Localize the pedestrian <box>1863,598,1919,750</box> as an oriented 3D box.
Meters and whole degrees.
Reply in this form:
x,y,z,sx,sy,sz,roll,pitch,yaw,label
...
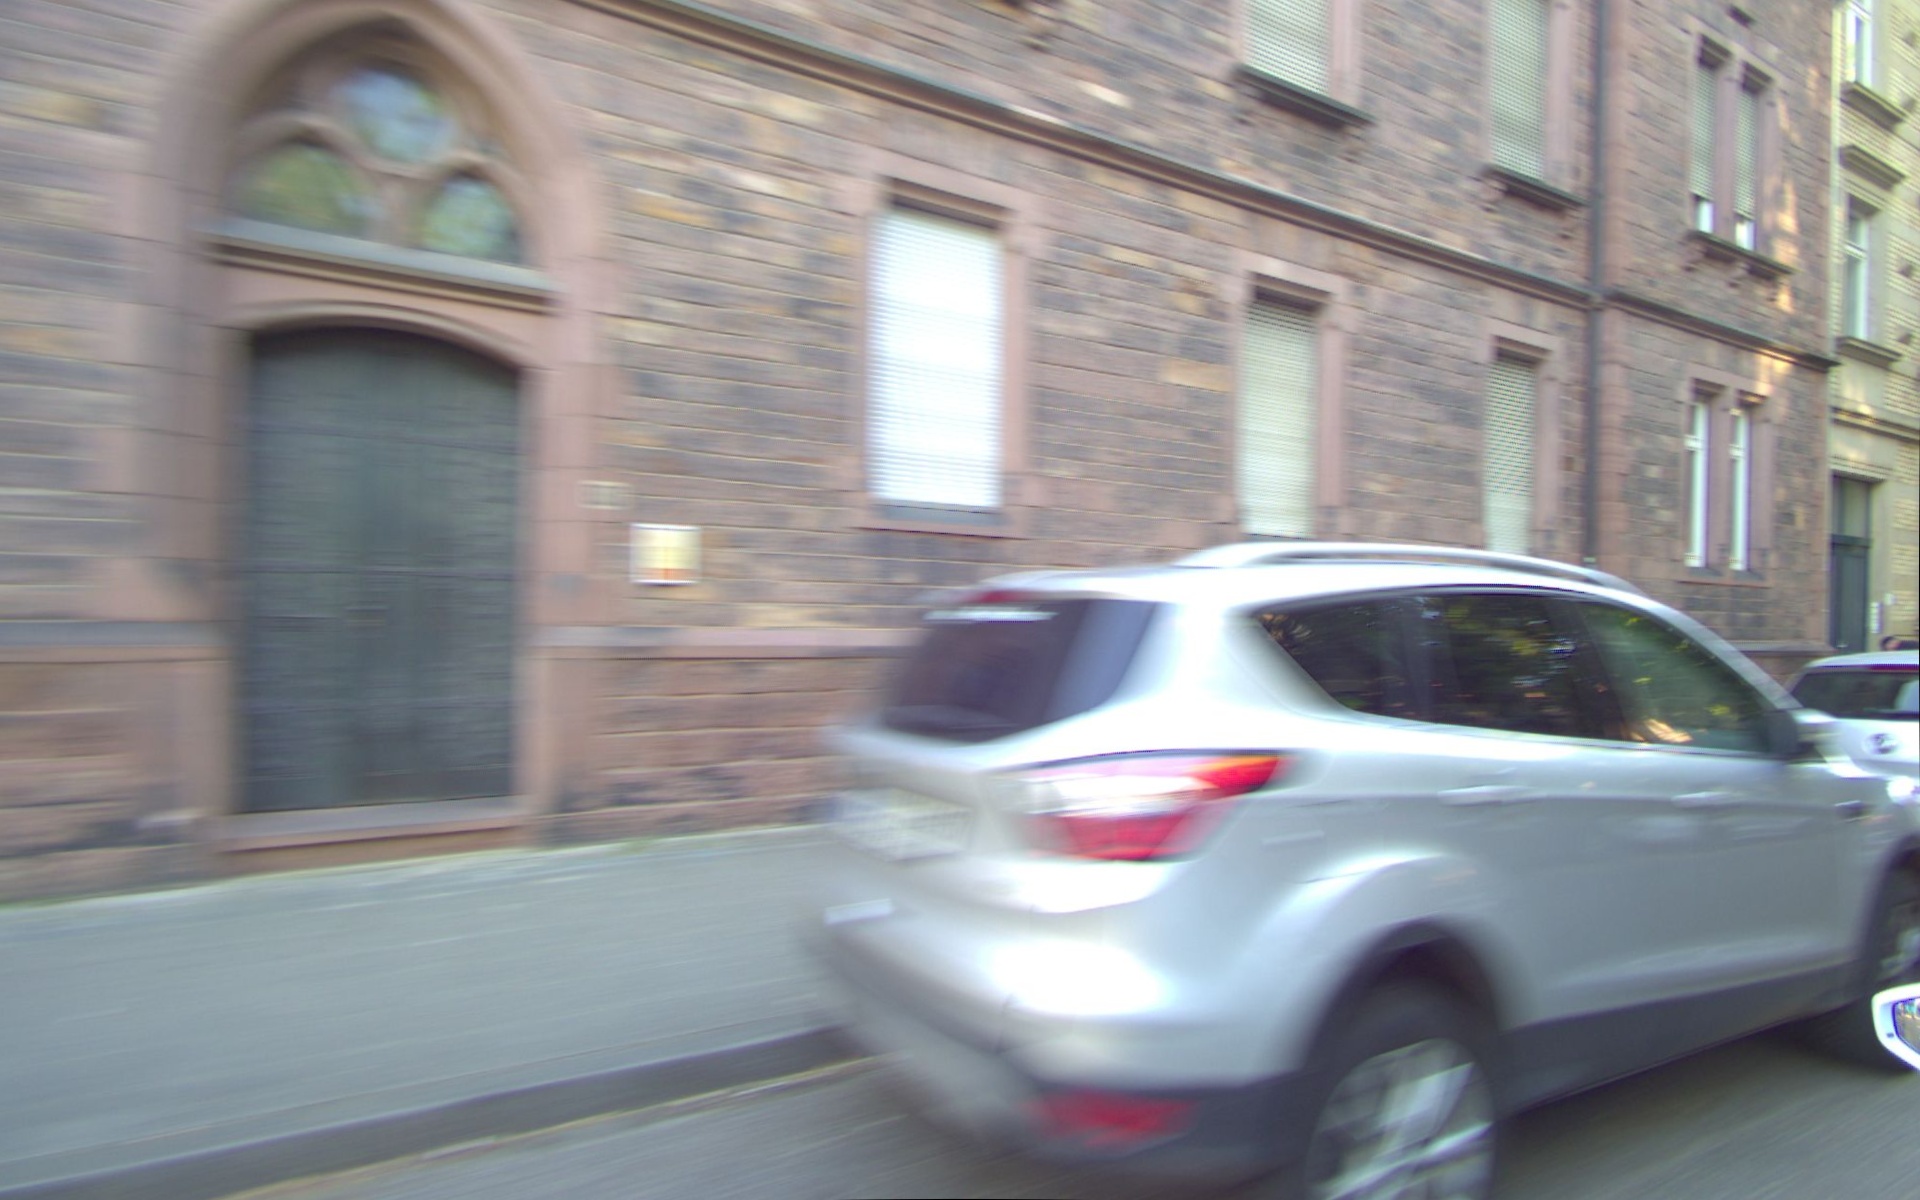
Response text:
x,y,z,sx,sy,sz,roll,pitch,yaw,label
12.592,0.959,13.300,0.755,1.954,0.761,1,0,-33,pedestrian

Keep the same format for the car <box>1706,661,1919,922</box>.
x,y,z,sx,sy,sz,roll,pitch,yaw,label
6.898,1.147,6.671,3.756,1.435,1.702,2,-3,-29,car

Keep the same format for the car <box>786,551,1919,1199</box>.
x,y,z,sx,sy,sz,roll,pitch,yaw,label
1.704,0.875,3.485,4.225,1.696,1.702,2,-3,-29,car
